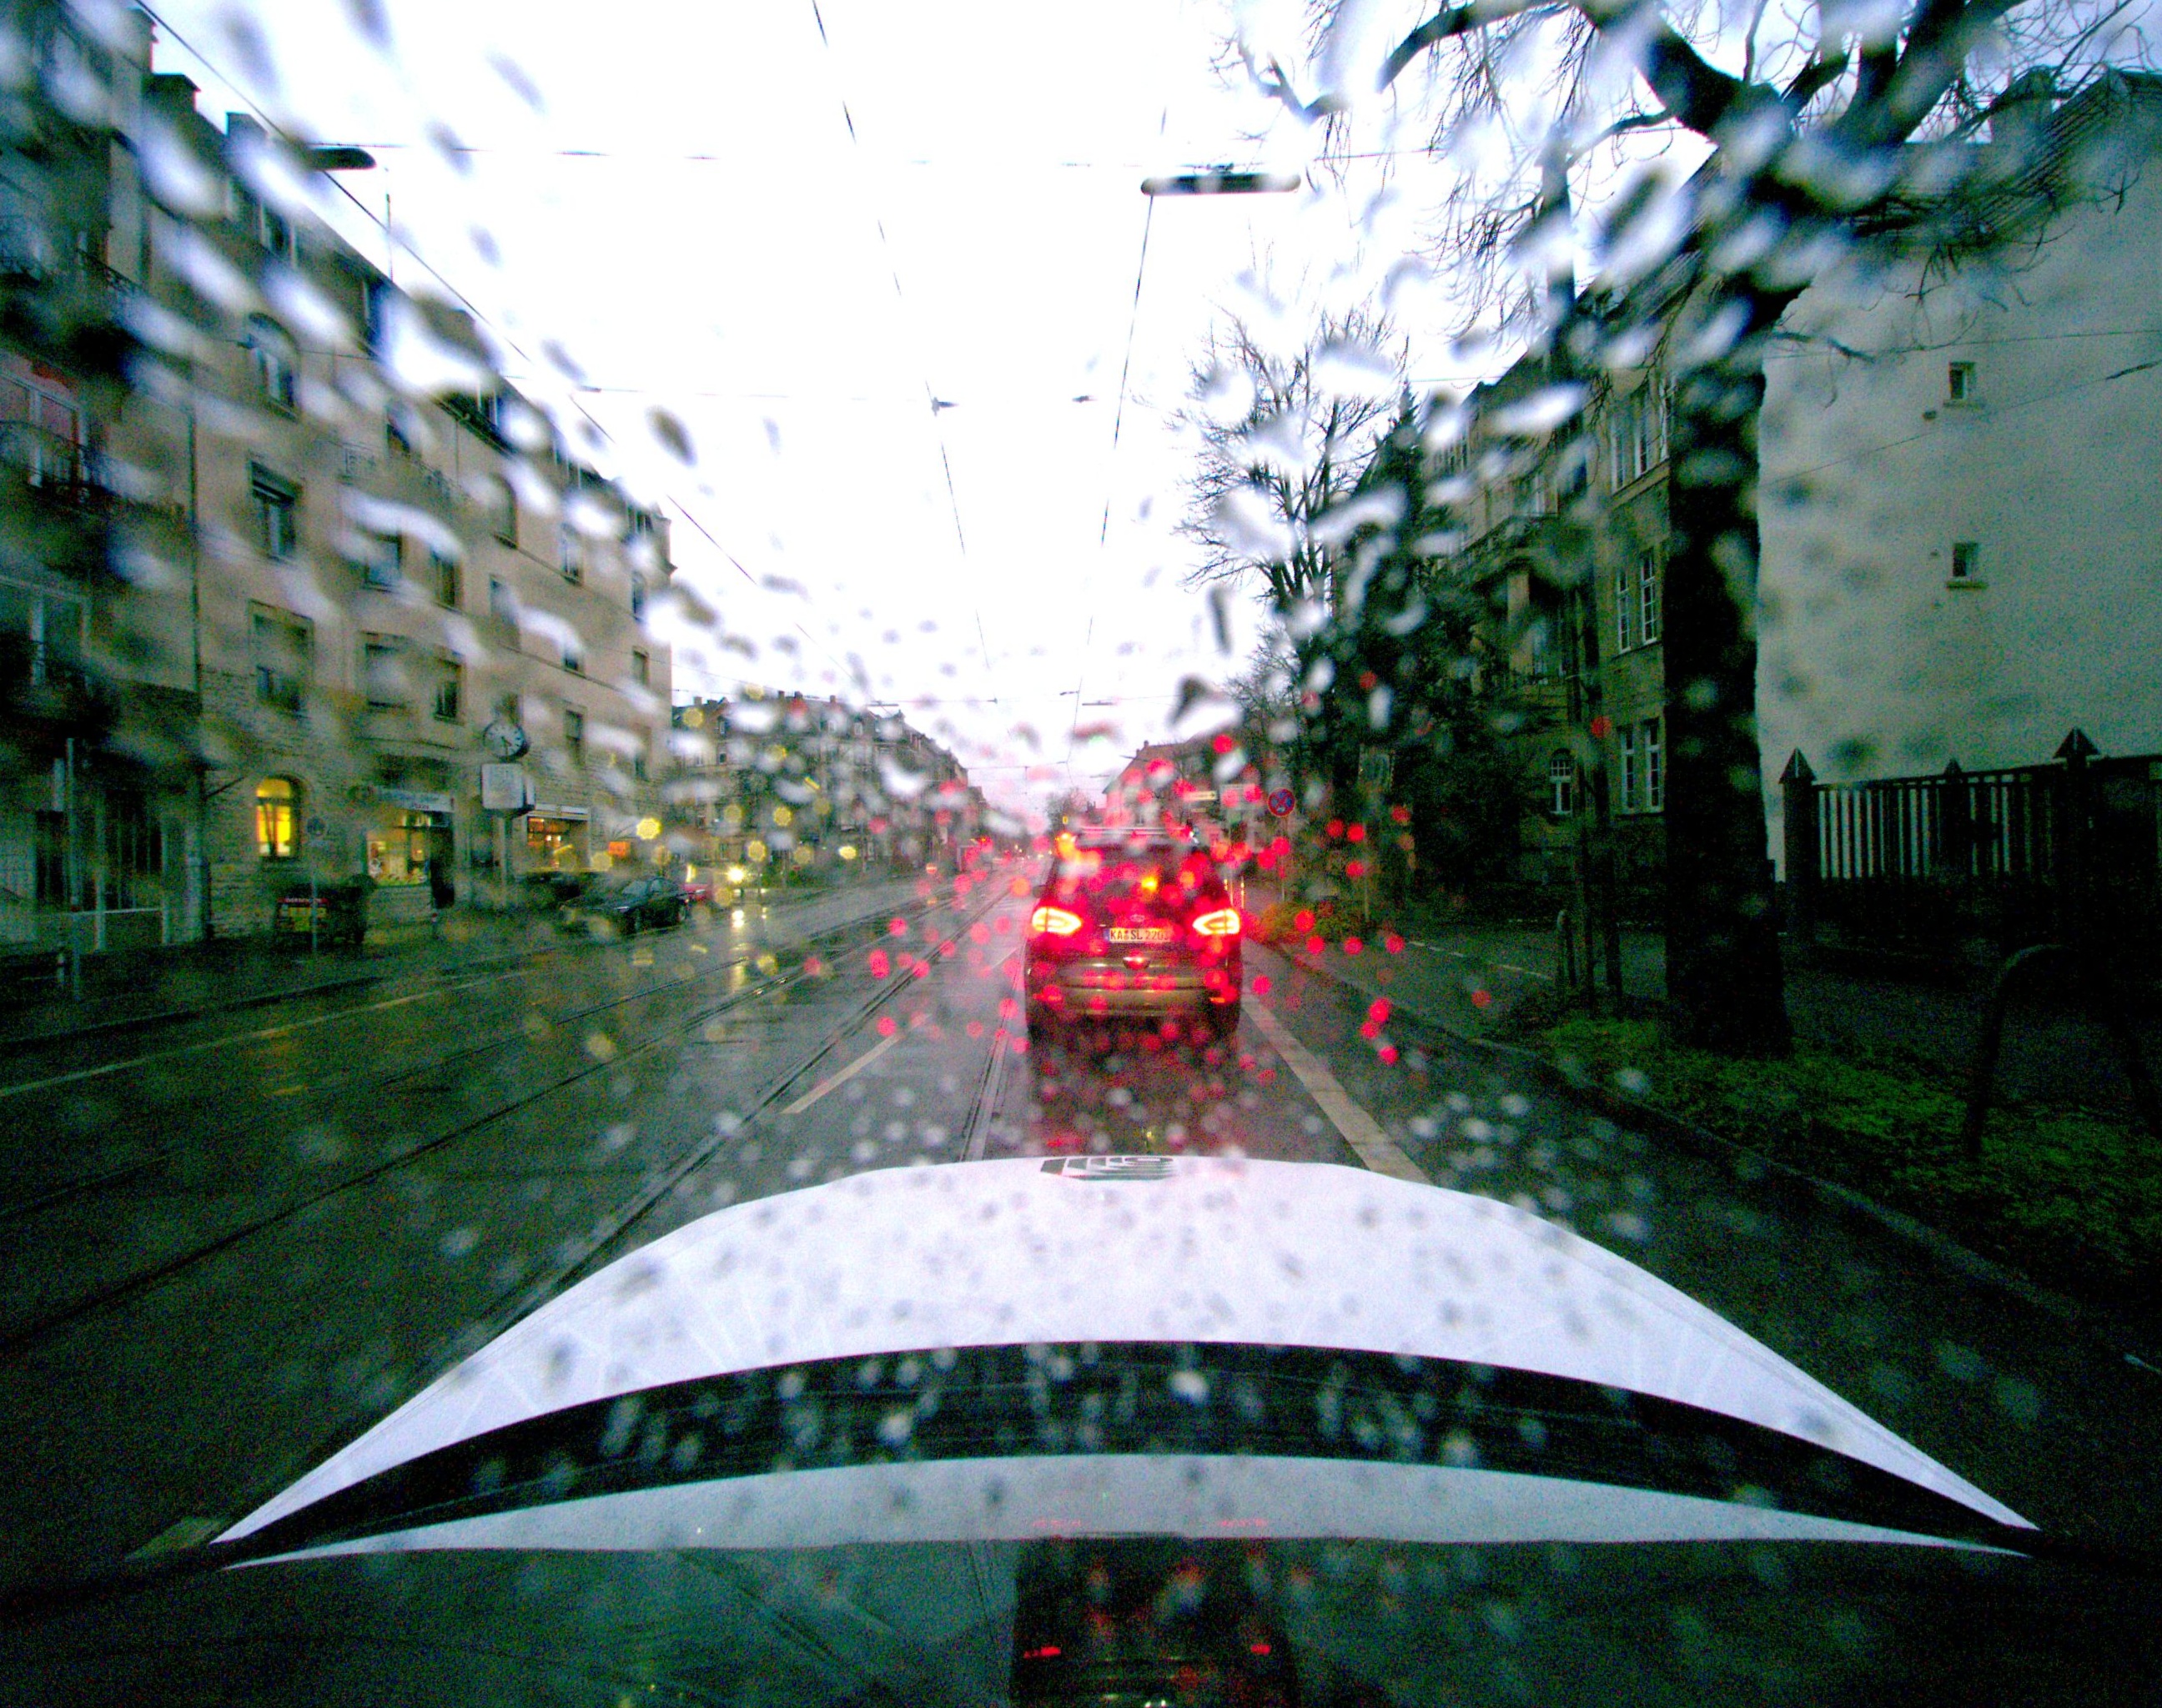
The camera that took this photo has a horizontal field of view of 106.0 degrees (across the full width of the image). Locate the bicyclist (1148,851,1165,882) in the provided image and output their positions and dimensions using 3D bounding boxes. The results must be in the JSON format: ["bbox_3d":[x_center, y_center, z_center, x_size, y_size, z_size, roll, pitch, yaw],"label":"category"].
[{"bbox_3d":[4.204,0.698,45.593,0.716,1.662,1.054,2,0,-6],"label":"bicyclist"}]

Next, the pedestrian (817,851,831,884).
[{"bbox_3d":[-15.916,0.820,50.438,0.707,2.013,0.656,-1,0,-21],"label":"pedestrian"}]

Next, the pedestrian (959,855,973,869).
[{"bbox_3d":[-9.655,0.670,68.315,1.044,1.200,0.884,-1,-1,-1],"label":"pedestrian"}]

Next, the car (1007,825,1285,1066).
[{"bbox_3d":[0.507,0.690,8.484,2.097,1.816,4.660,0,0,0],"label":"car"}]

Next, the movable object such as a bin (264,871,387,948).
[{"bbox_3d":[-15.092,1.080,16.322,1.264,1.420,1.249,-1,0,-2],"label":"movable object such as a bin"}]

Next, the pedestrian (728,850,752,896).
[{"bbox_3d":[-14.946,0.836,35.685,0.748,2.014,0.652,-1,-1,34],"label":"pedestrian"}]

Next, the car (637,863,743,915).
[{"bbox_3d":[-13.365,1.151,28.144,2.035,1.551,4.022,2,0,-7],"label":"car"}]

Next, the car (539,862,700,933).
[{"bbox_3d":[-12.488,1.116,22.465,1.982,1.645,4.623,3,-1,-4],"label":"car"}]

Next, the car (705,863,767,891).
[{"bbox_3d":[-21.804,1.451,51.403,3.949,1.673,2.035,-1,0,40],"label":"car"}]

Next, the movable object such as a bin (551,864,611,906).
[{"bbox_3d":[-17.416,1.058,28.388,1.290,1.367,1.251,-1,0,-2],"label":"movable object such as a bin"}]

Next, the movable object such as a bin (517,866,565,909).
[{"bbox_3d":[-17.866,1.096,26.962,0.896,1.377,1.006,-1,0,-2],"label":"movable object such as a bin"}]
